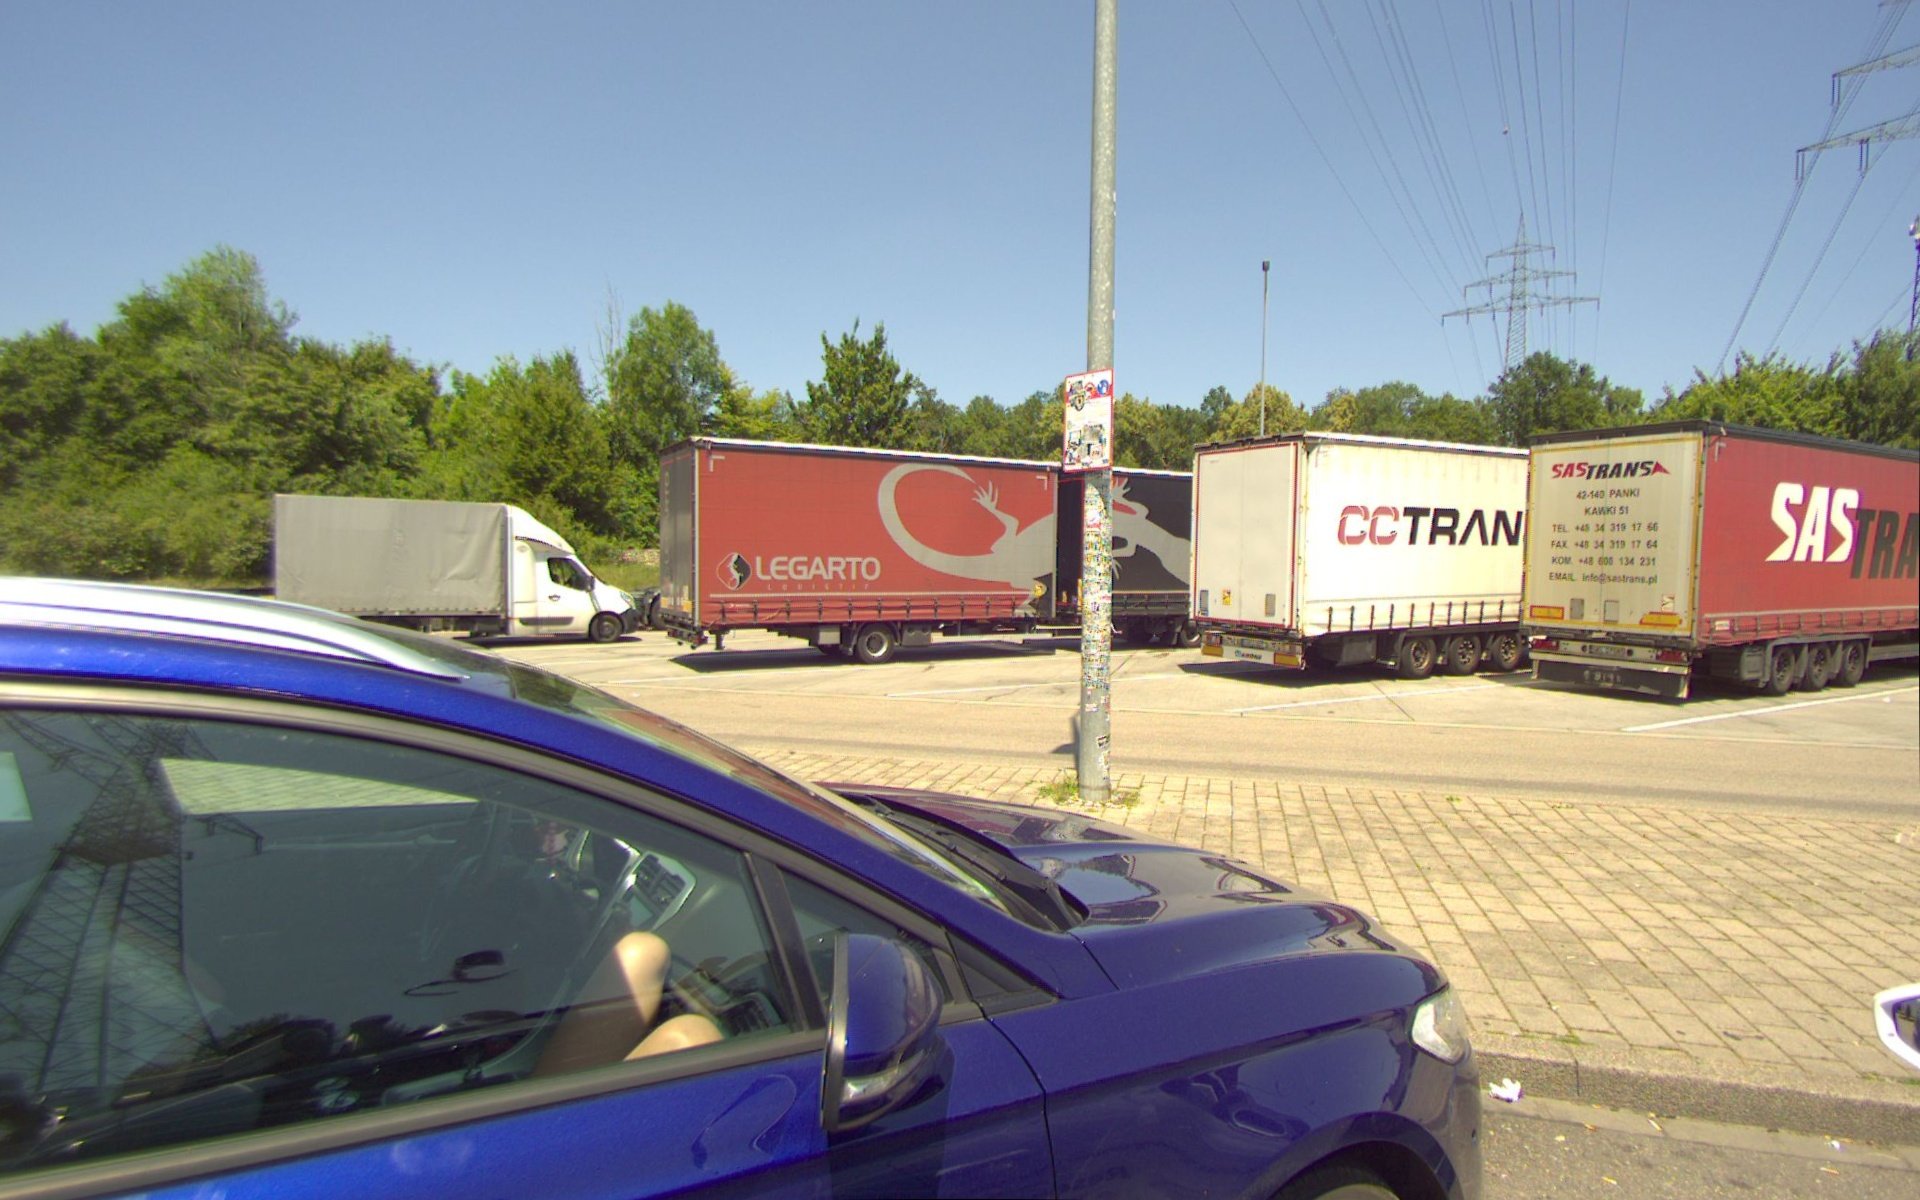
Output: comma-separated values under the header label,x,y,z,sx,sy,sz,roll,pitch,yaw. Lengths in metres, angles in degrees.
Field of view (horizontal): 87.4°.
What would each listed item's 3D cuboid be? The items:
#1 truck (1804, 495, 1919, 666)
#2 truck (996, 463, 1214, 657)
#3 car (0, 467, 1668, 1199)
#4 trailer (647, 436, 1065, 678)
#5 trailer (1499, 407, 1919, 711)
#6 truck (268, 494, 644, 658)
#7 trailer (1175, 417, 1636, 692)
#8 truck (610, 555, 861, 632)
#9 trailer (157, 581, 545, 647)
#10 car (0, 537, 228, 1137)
label,x,y,z,sx,sy,sz,roll,pitch,yaw
truck,21.726,-0.434,22.300,5.418,3.475,2.838,-1,3,-30
truck,3.355,-0.907,23.358,4.273,4.072,2.689,-1,3,-30
car,-0.986,0.658,1.469,4.592,1.502,1.727,0,0,-33
trailer,-1.927,-0.831,20.265,7.996,4.101,2.696,-1,3,-30
trailer,15.404,-0.704,18.557,13.559,4.189,2.892,-1,3,-30
truck,-11.203,-0.575,22.904,7.254,3.254,2.515,-1,3,-30
trailer,8.865,-0.822,19.324,10.048,4.267,2.714,-1,3,-30
truck,-6.481,-0.167,29.526,6.961,2.040,1.984,0,0,-30
trailer,-14.831,0.257,25.188,7.996,1.394,2.212,-1,3,-30
car,-4.559,0.586,2.254,4.592,1.554,1.726,0,1,-33
